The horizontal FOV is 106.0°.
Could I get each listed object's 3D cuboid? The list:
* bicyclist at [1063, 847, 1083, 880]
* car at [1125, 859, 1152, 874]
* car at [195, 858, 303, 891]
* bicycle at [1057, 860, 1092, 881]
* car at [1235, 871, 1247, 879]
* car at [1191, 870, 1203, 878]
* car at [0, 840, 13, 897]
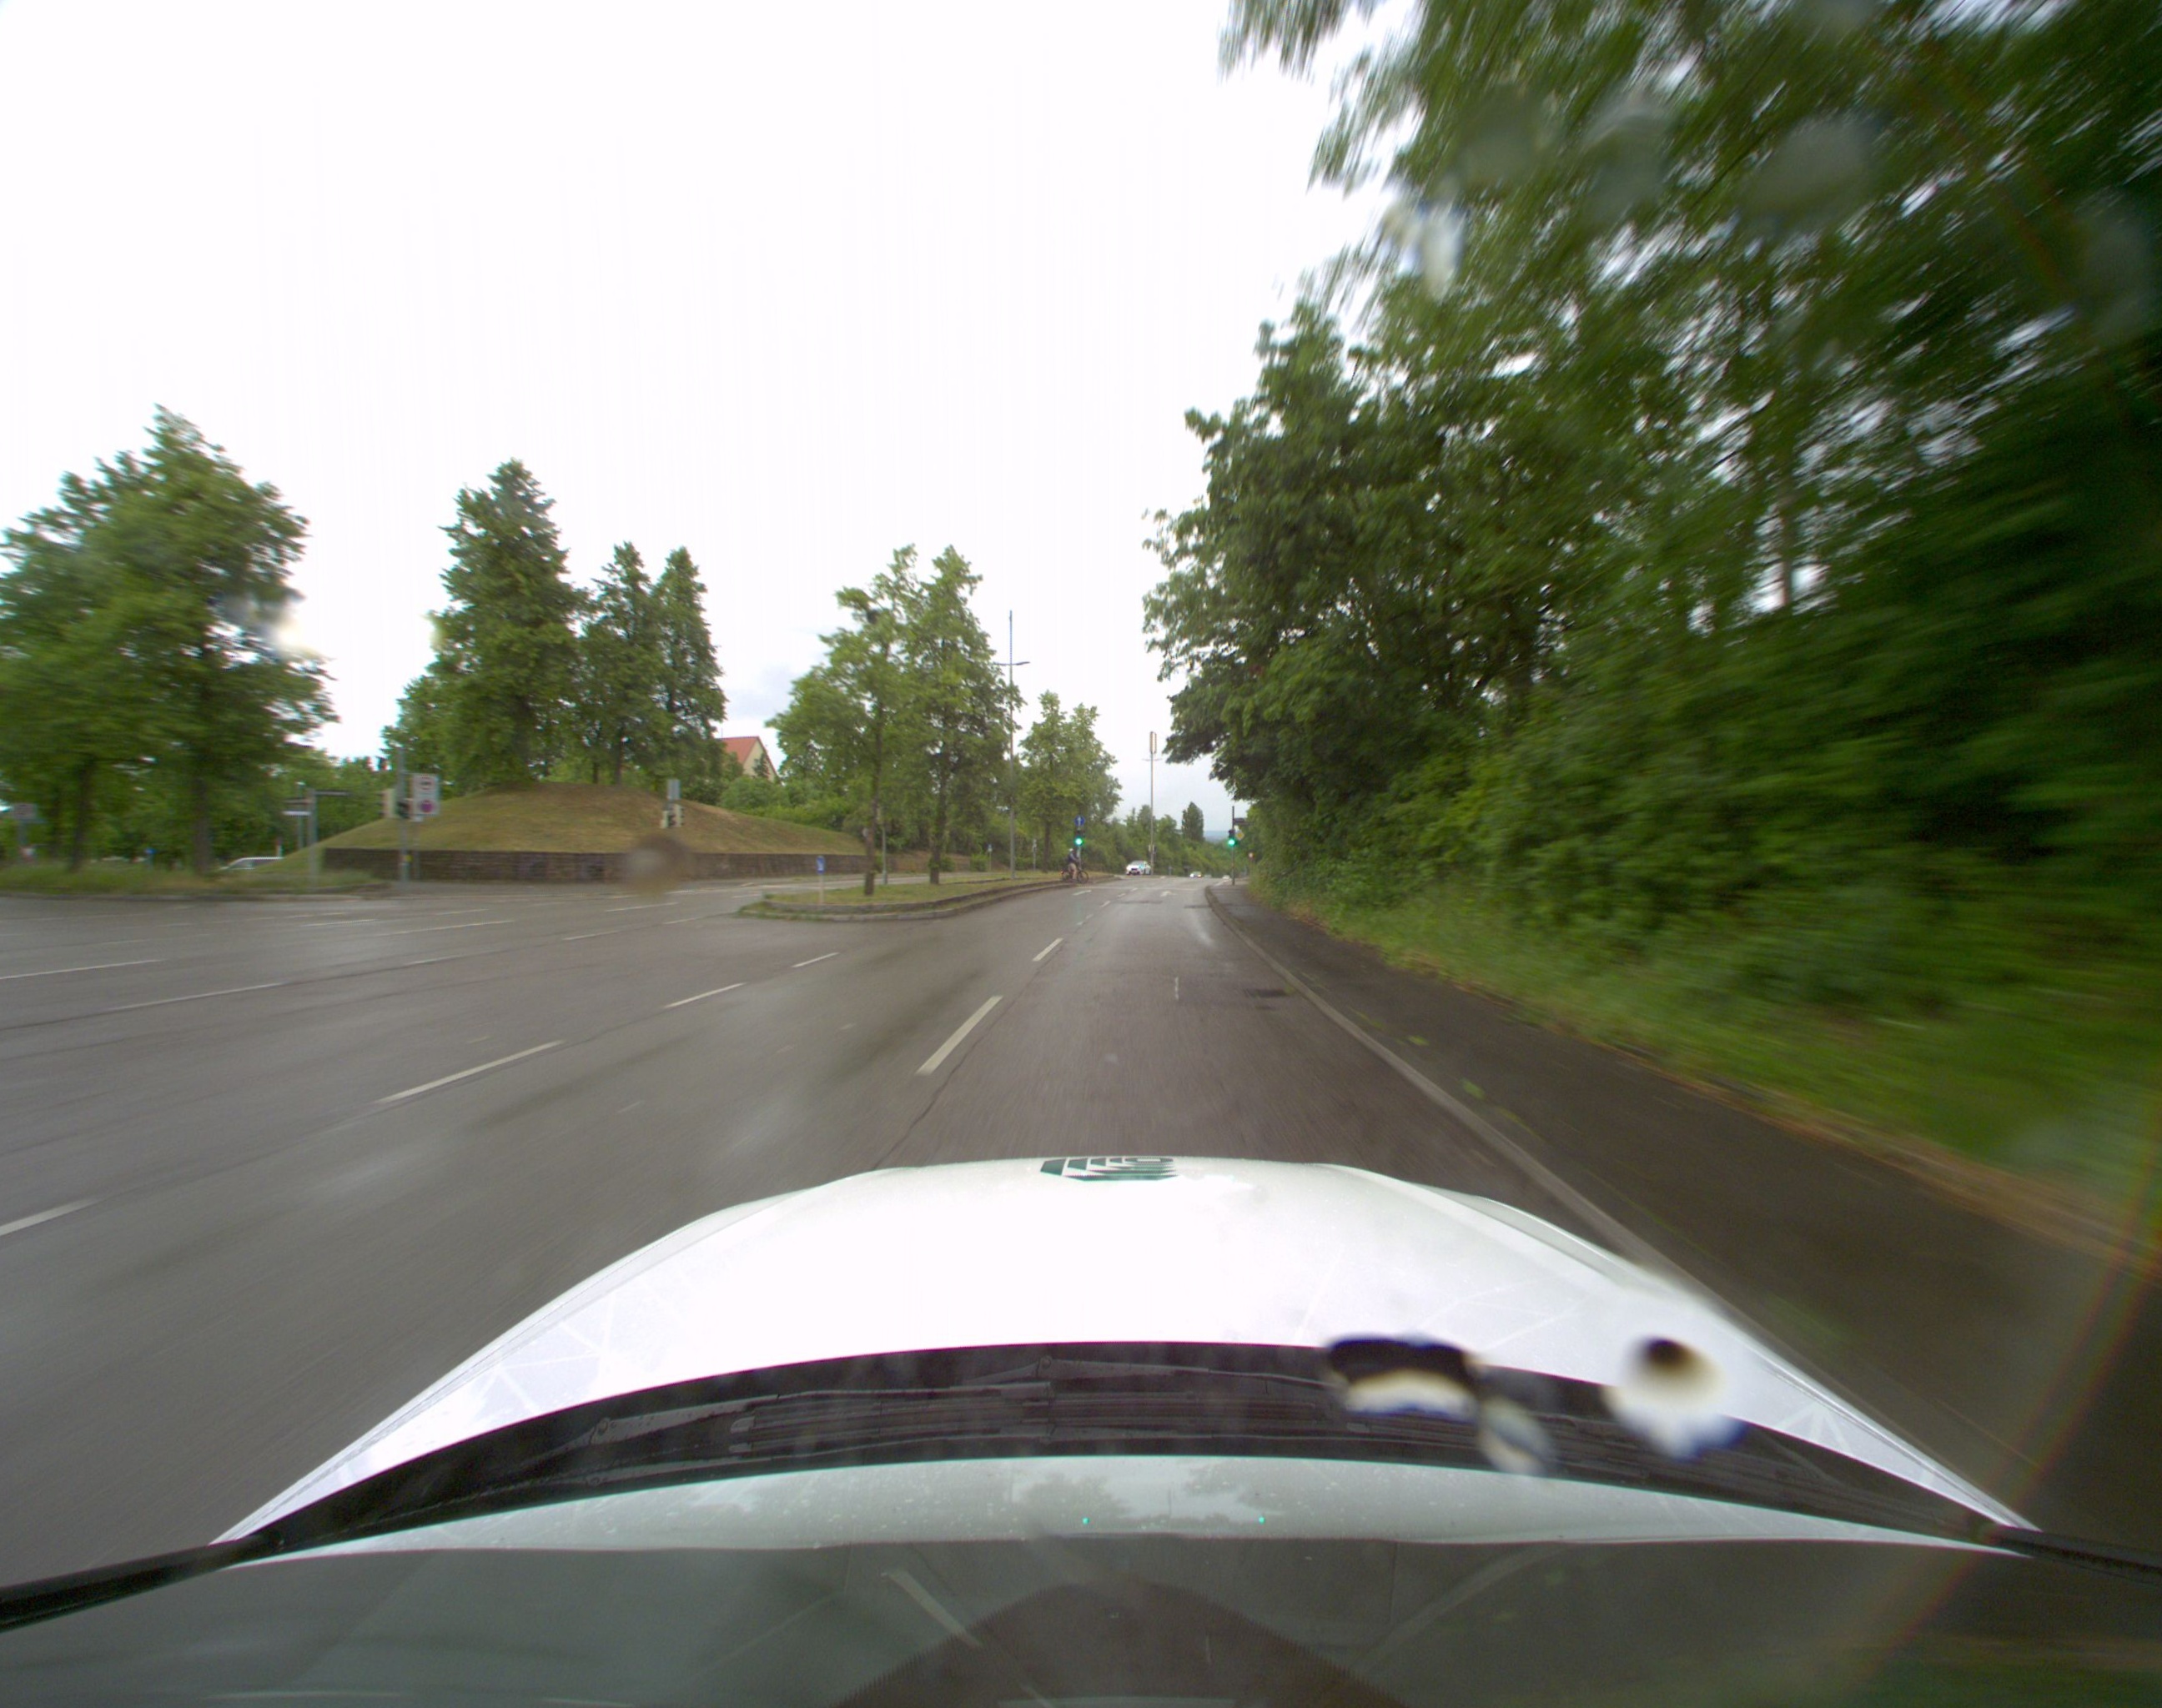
[{"bbox_3d":[-0.444,0.542,44.596,0.806,1.752,0.716,3,-5,-45],"label":"bicyclist"},{"bbox_3d":[6.449,1.400,90.678,1.930,1.636,5.026,1,-1,16],"label":"car"},{"bbox_3d":[-49.665,1.219,48.721,4.004,1.852,1.985,1,0,-23],"label":"car"},{"bbox_3d":[-0.337,0.908,44.652,0.547,1.143,2.152,0,-1,45],"label":"bicycle"},{"bbox_3d":[32.900,4.287,167.376,1.929,1.591,3.946,0,-1,19],"label":"car"},{"bbox_3d":[21.256,3.689,149.269,1.765,1.472,4.661,1,-2,14],"label":"car"},{"bbox_3d":[-30.523,0.359,21.307,3.891,1.490,2.010,1,0,20],"label":"car"}]
